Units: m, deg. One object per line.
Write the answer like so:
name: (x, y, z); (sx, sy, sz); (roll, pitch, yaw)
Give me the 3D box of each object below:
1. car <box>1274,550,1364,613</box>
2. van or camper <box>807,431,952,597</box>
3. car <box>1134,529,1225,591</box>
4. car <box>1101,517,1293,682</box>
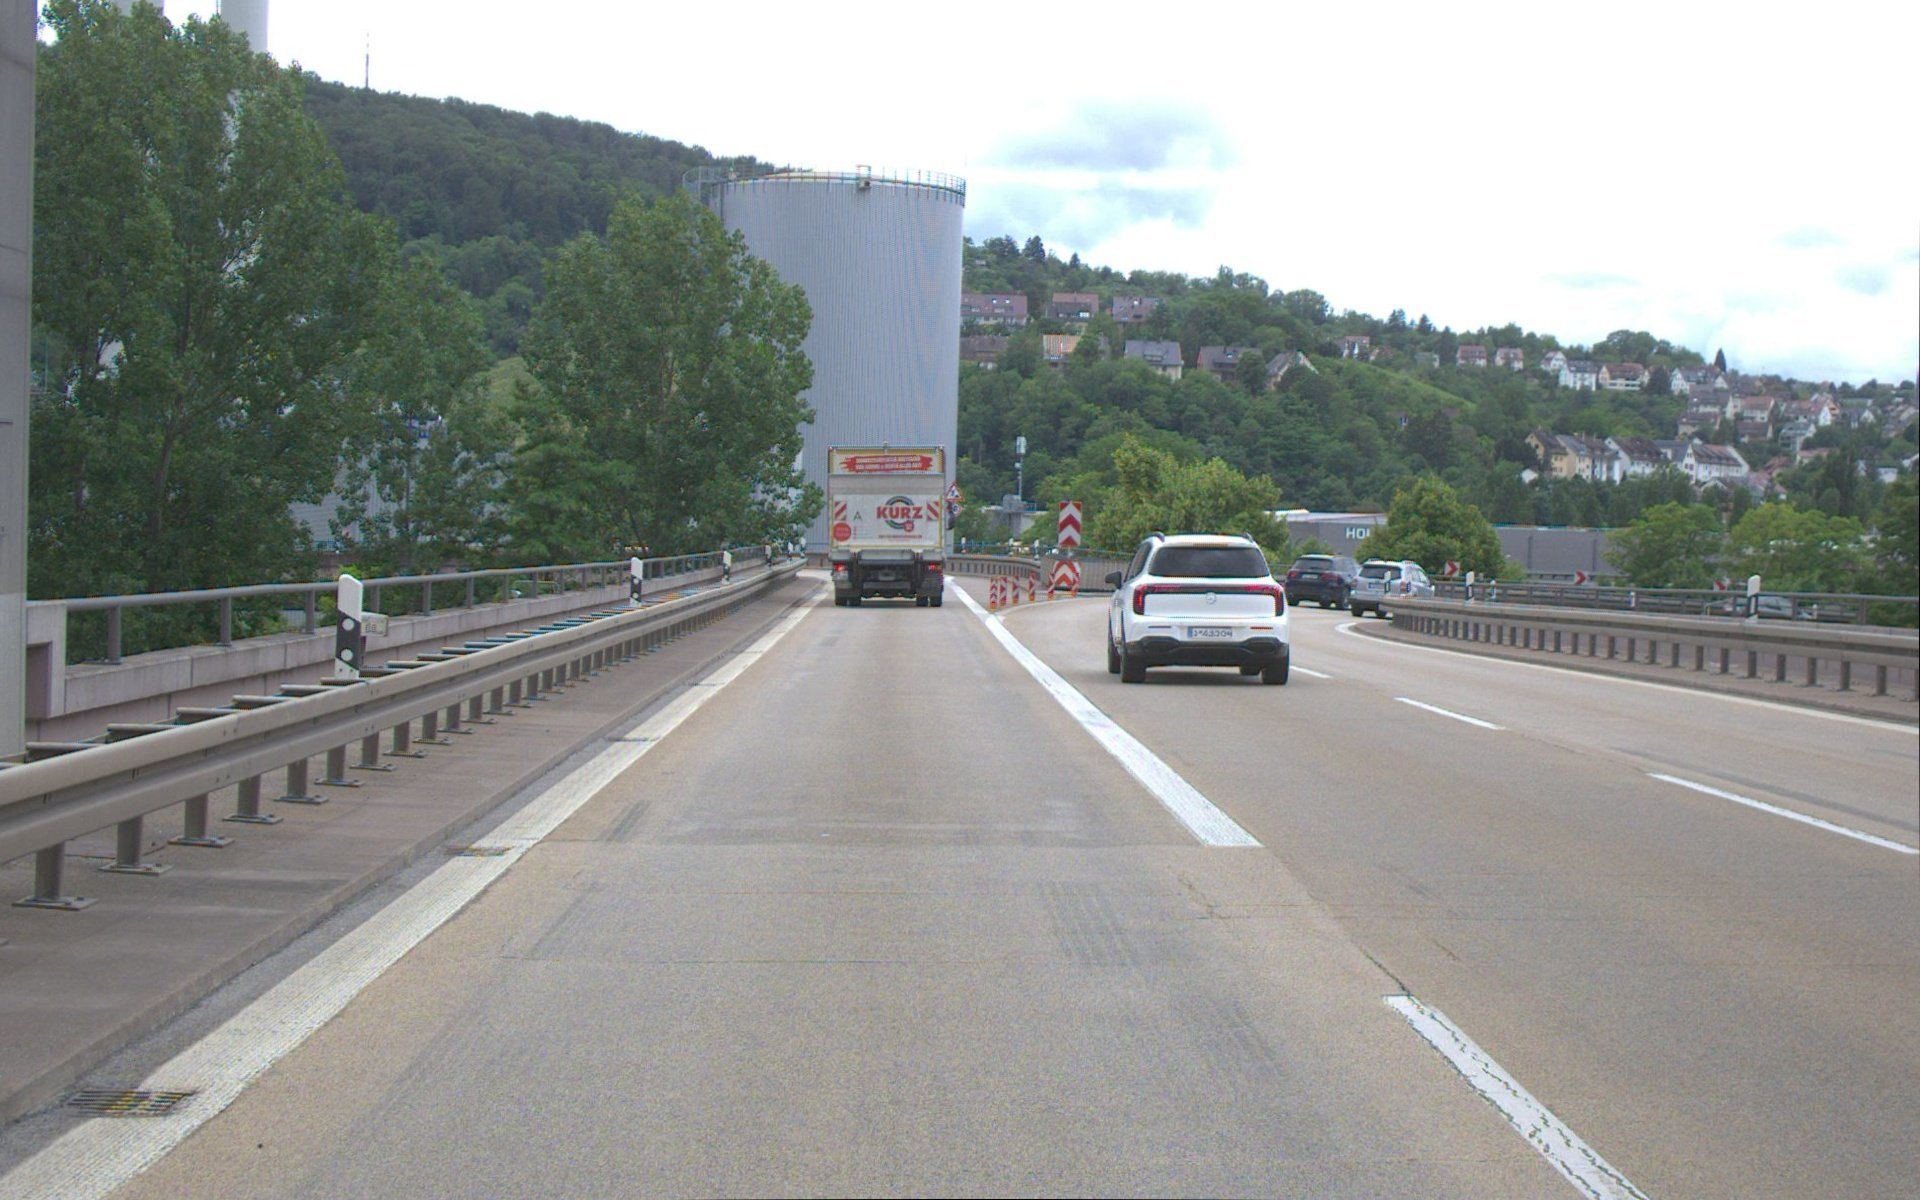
car: (10.674, -0.570, 102.530); (1.923, 1.779, 4.114); (0, 1, -5)
van or camper: (-1.756, -1.944, 78.725); (3.122, 3.567, 8.550); (0, 1, 0)
car: (6.562, -1.208, 102.397); (1.925, 1.779, 4.110); (1, 2, 15)
car: (2.675, -0.054, 39.628); (1.924, 1.779, 4.113); (1, 1, 0)
